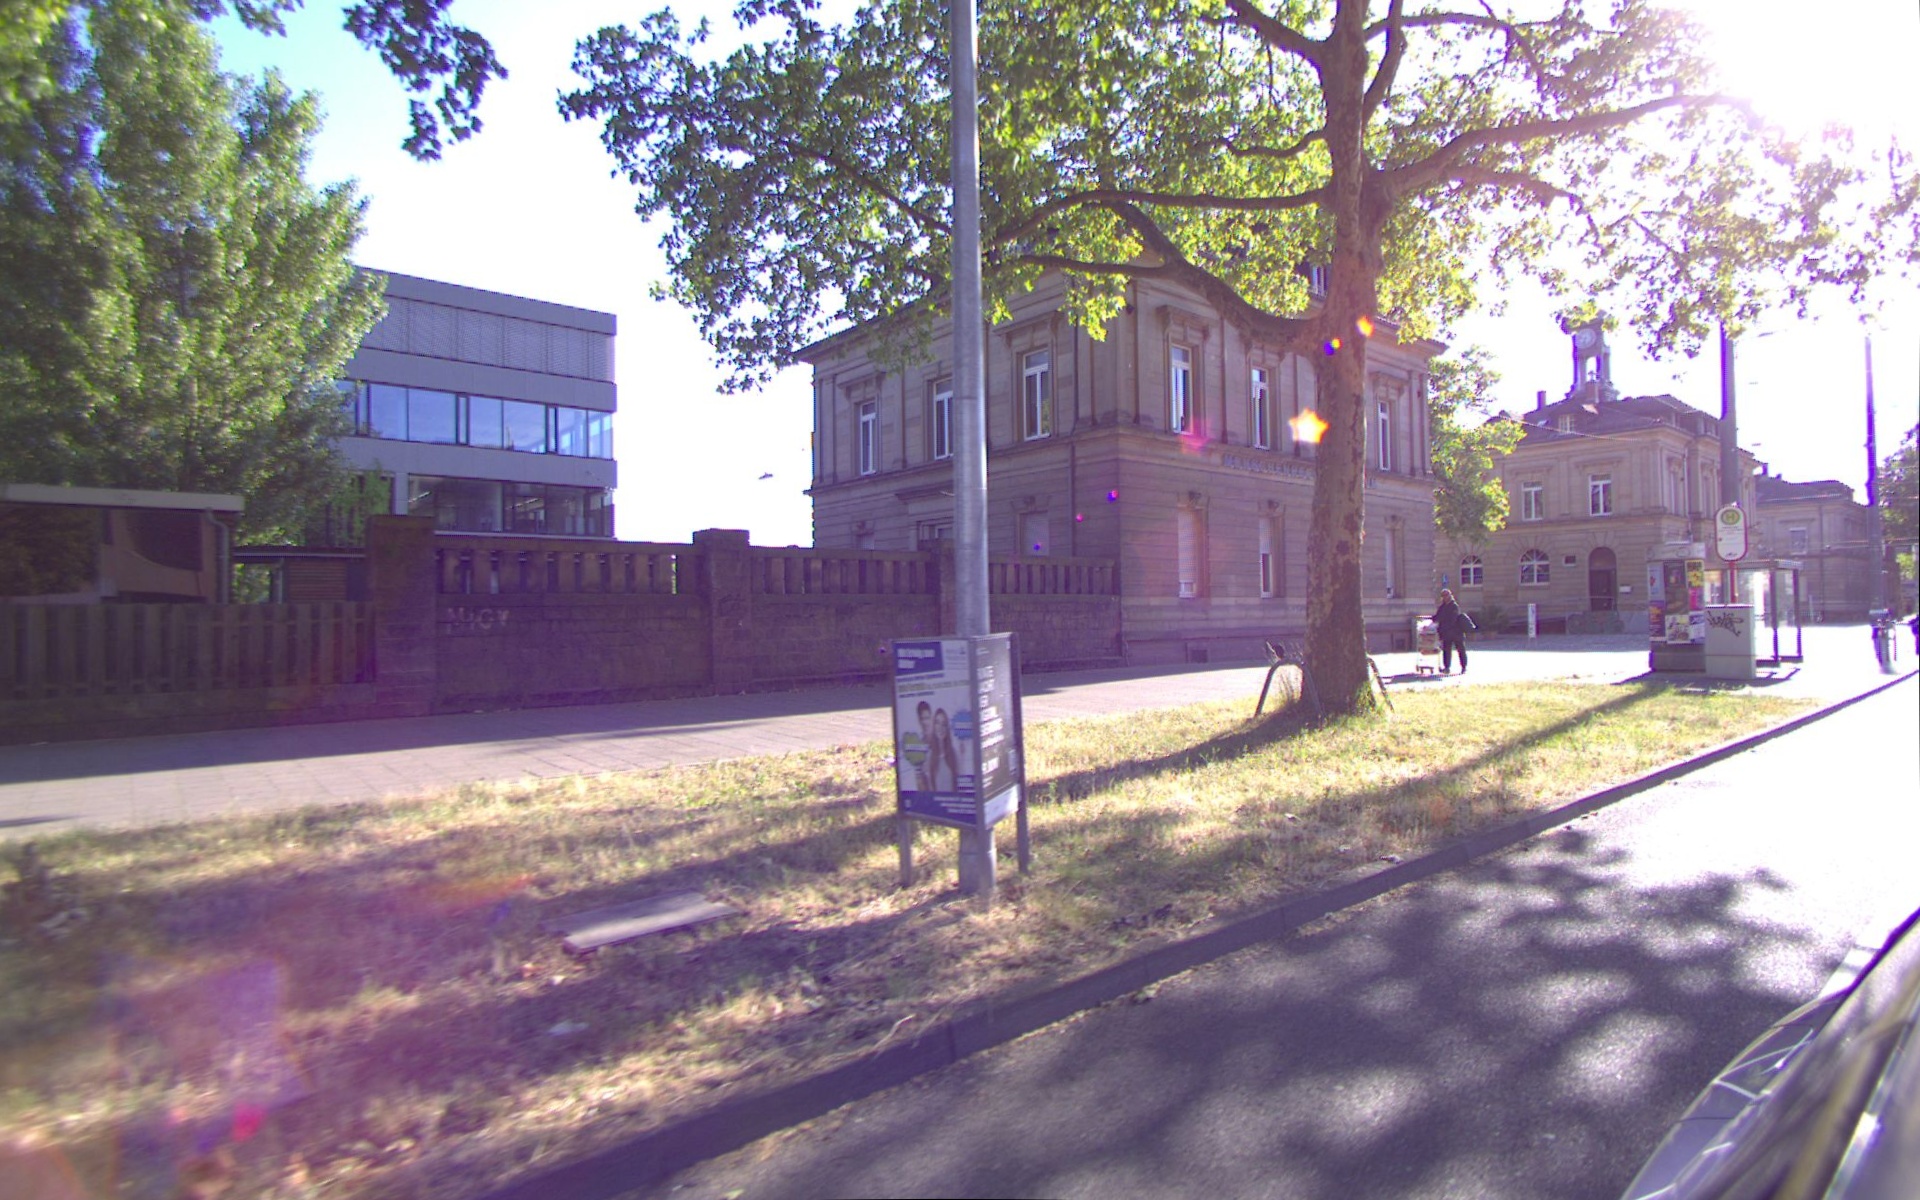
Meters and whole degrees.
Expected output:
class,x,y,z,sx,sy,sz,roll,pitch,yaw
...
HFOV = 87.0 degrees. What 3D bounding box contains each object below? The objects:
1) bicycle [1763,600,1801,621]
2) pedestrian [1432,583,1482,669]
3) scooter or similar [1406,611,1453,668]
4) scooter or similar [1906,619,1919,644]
class,x,y,z,sx,sy,sz,roll,pitch,yaw
bicycle,49.097,0.628,60.445,0.679,1.196,1.648,0,-1,-42
pedestrian,10.493,0.539,21.362,0.769,1.766,0.784,0,0,44
scooter or similar,10.011,0.833,21.585,0.718,1.170,0.748,0,0,43
scooter or similar,31.114,1.012,32.512,0.260,0.822,1.022,0,-2,-40
